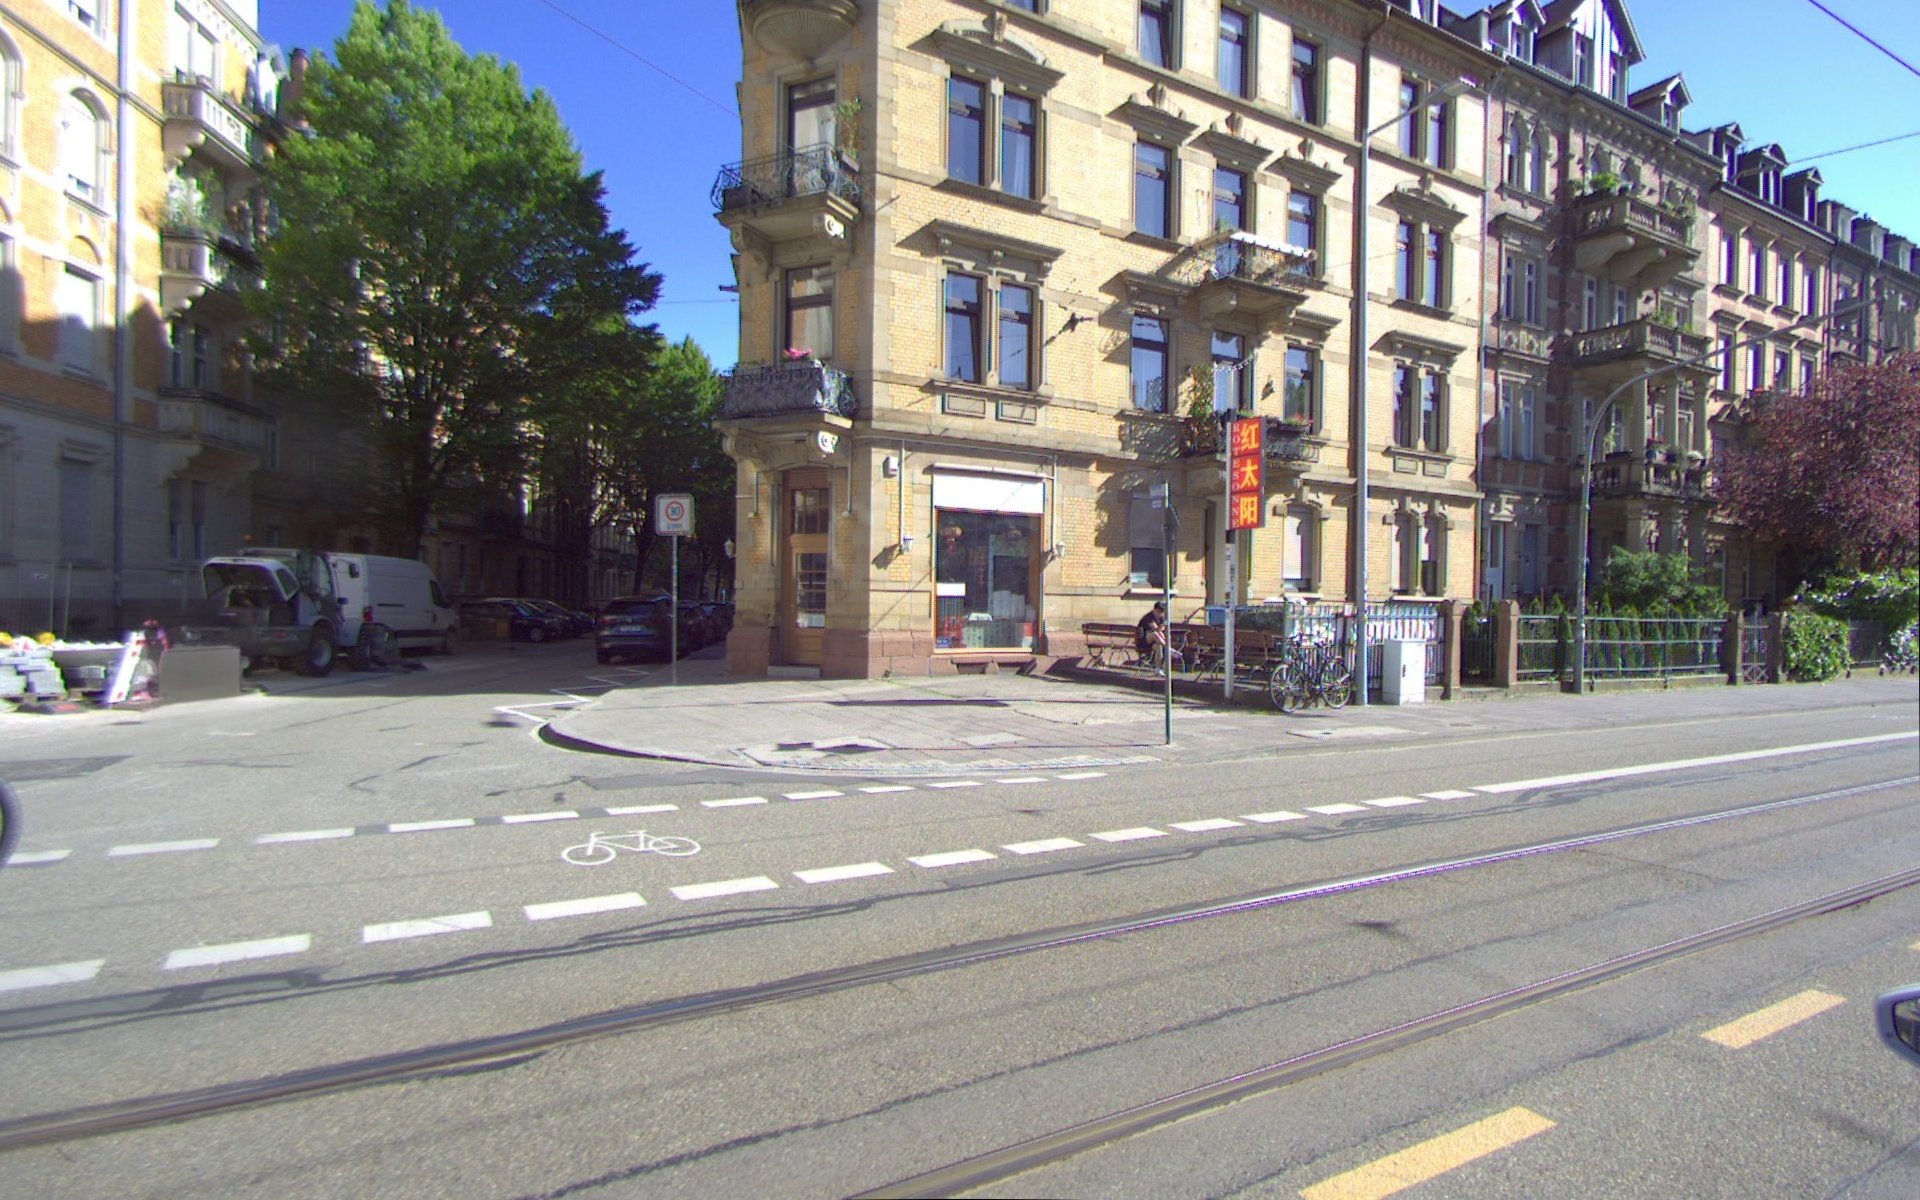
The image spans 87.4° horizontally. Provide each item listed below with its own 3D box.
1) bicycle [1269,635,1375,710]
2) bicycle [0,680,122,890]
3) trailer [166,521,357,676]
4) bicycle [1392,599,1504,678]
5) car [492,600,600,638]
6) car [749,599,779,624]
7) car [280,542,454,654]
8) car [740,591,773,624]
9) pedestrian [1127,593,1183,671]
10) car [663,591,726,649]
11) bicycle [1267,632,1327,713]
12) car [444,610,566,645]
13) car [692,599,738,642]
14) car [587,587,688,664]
[{"bbox_3d":[5.311,1.037,14.693,1.848,1.014,0.333,1,2,-31],"label":"bicycle"},{"bbox_3d":[-5.197,0.868,4.480,2.177,0.938,0.458,1,-1,-31],"label":"bicycle"},{"bbox_3d":[-13.450,0.014,19.559,1.794,2.731,2.926,1,-1,-7],"label":"trailer"},{"bbox_3d":[9.061,0.679,18.694,0.608,1.338,1.748,0,2,-39],"label":"bicycle"},{"bbox_3d":[-17.193,0.811,41.882,3.934,1.515,1.577,1,-2,-16],"label":"car"},{"bbox_3d":[-13.051,0.780,67.080,1.631,1.513,3.997,1,-2,-6],"label":"car"},{"bbox_3d":[-15.273,-0.093,26.209,1.962,2.536,4.632,4,1,-5],"label":"car"},{"bbox_3d":[-11.231,0.456,55.638,1.570,1.750,3.532,0,-1,-8],"label":"car"},{"bbox_3d":[3.518,0.583,18.136,0.570,1.370,0.897,1,-2,-28],"label":"pedestrian"},{"bbox_3d":[-8.518,0.648,32.476,1.570,1.750,3.532,0,-1,-8],"label":"car"},{"bbox_3d":[4.951,1.046,14.741,0.799,1.141,0.369,1,2,-30],"label":"bicycle"},{"bbox_3d":[-17.092,1.049,37.906,3.934,1.228,1.577,1,-2,-16],"label":"car"},{"bbox_3d":[-10.384,0.861,42.789,1.570,1.750,3.532,0,-1,-8],"label":"car"},{"bbox_3d":[-8.305,0.589,26.148,1.805,1.773,3.585,-2,2,-7],"label":"car"}]
